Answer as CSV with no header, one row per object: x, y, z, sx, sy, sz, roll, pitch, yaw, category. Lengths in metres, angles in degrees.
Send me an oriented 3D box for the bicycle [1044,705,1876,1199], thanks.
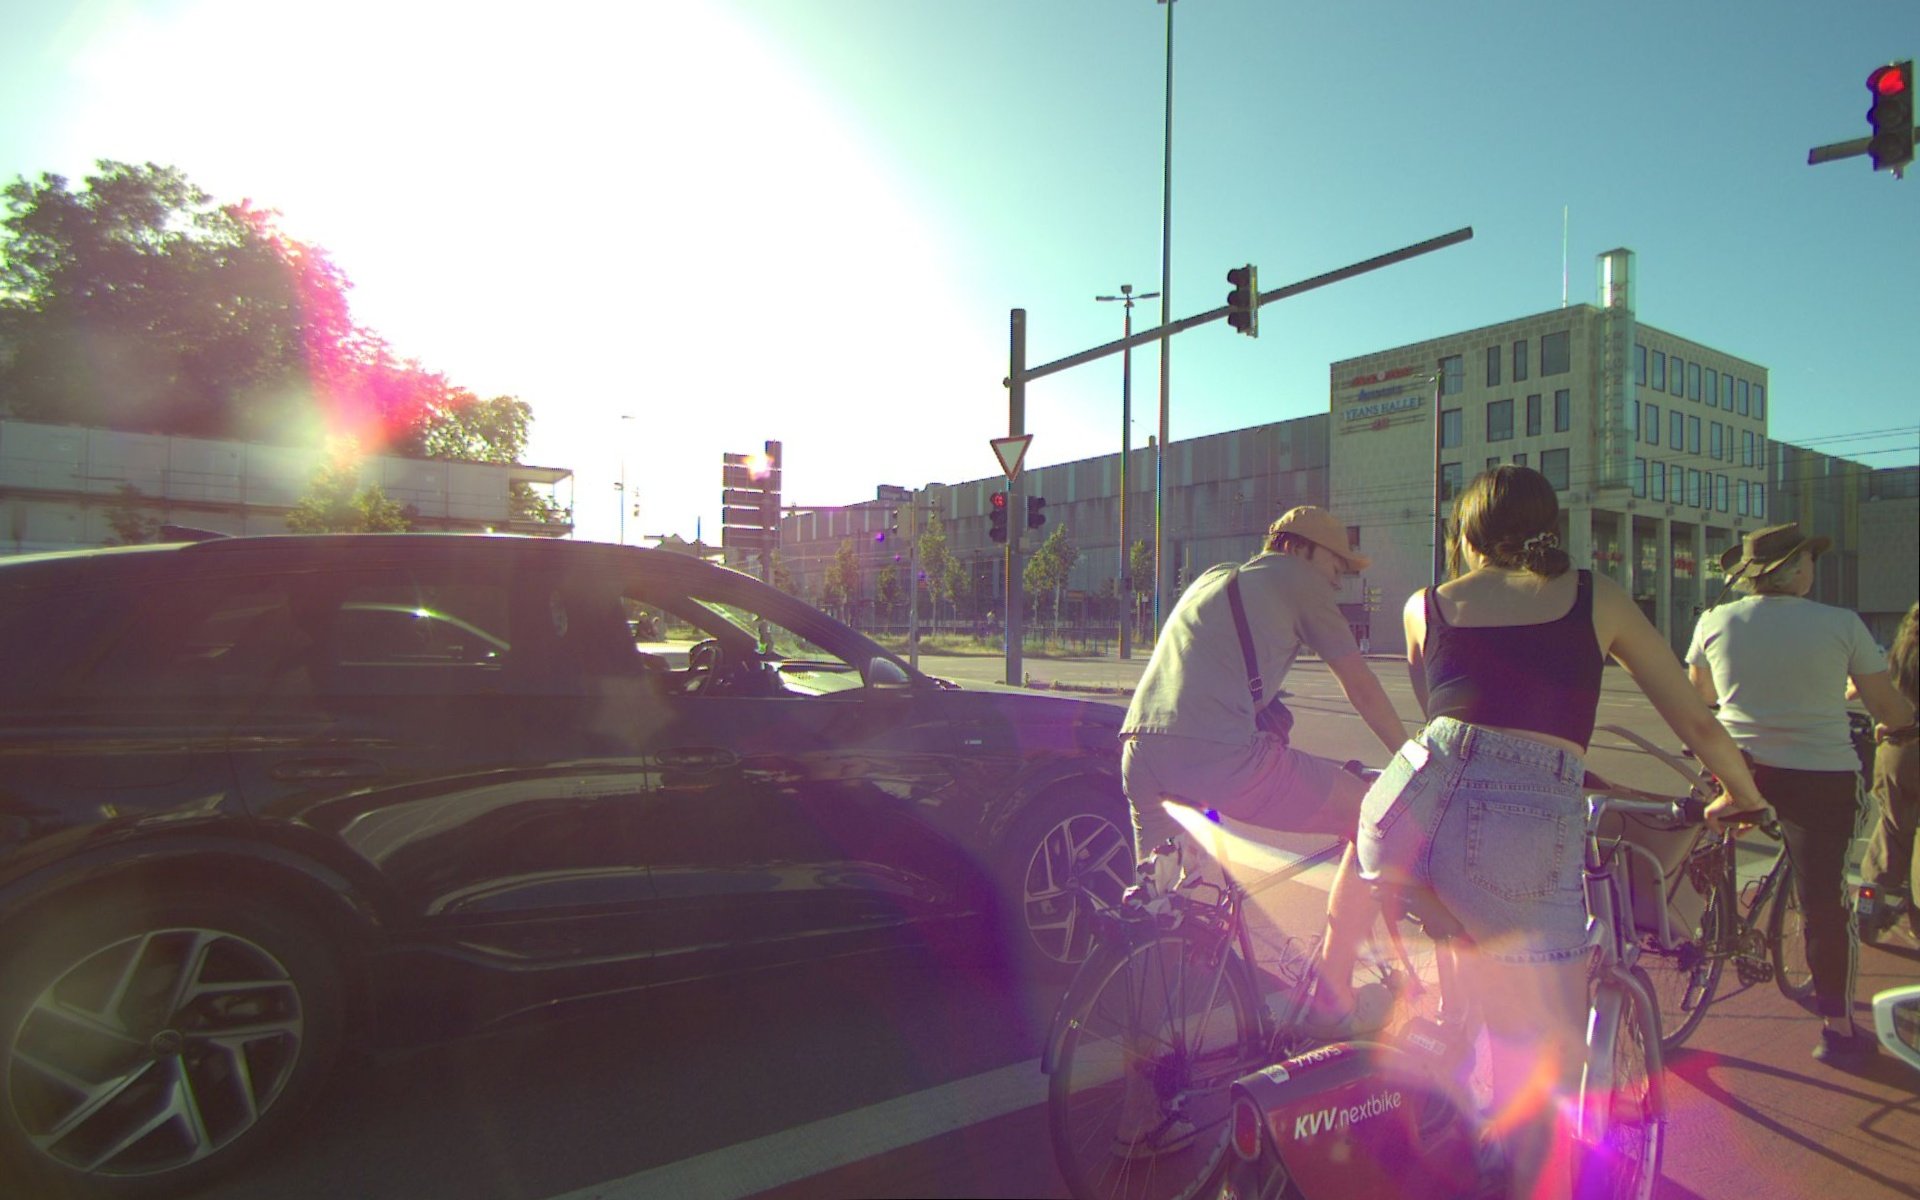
1.069,0.890,1.968,1.811,1.234,0.612,1,0,-33,bicycle

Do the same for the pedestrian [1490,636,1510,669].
32.163,3.132,59.868,0.710,1.910,0.779,2,0,-36,pedestrian

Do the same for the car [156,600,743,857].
-3.584,0.787,7.496,3.562,1.505,1.485,1,0,-30,car

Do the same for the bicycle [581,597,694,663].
-9.465,0.852,29.543,3.047,1.835,0.835,0,1,-32,bicycle

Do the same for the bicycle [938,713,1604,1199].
0.942,0.950,2.771,1.949,1.124,0.643,1,0,-33,bicycle

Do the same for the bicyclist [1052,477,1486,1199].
0.805,0.556,2.674,0.833,1.627,0.712,1,0,-32,bicyclist

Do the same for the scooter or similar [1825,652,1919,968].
4.494,0.923,4.714,1.186,1.311,0.541,2,0,-45,scooter or similar

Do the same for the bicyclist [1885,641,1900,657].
67.980,3.555,73.243,0.612,1.099,0.512,1,0,16,bicyclist

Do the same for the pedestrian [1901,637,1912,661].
71.098,3.675,75.456,0.579,1.702,0.516,1,1,-43,pedestrian

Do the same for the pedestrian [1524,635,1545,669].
33.398,3.010,58.377,0.710,1.910,0.779,2,0,-36,pedestrian

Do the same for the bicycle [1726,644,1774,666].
48.698,3.391,61.960,0.605,1.238,2.295,1,-1,-31,bicycle

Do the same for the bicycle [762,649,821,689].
-6.803,2.761,40.472,0.962,1.388,2.930,2,0,-40,bicycle

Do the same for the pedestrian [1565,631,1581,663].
35.631,2.733,58.425,0.784,1.868,0.862,0,-1,32,pedestrian

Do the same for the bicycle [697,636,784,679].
-7.897,2.044,36.142,2.905,1.388,0.970,2,0,16,bicycle

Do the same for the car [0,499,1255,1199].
-1.152,0.629,3.871,4.630,1.656,1.760,1,0,-32,car

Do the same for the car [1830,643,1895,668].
49.784,3.066,55.410,3.956,1.359,1.621,2,-4,-32,car

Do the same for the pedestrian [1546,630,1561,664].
34.258,2.698,57.972,0.705,1.910,0.785,2,0,33,pedestrian

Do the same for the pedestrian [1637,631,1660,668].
38.427,2.763,56.072,0.767,2.040,0.876,2,0,-41,pedestrian

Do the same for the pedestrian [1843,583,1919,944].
4.635,0.759,4.807,0.568,1.654,0.543,2,0,-45,pedestrian

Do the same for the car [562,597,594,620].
-32.936,0.729,86.512,1.785,1.908,3.964,2,0,-33,car

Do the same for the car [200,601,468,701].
-11.006,0.886,17.908,3.855,1.606,1.645,2,-2,-32,car

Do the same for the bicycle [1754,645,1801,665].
52.902,3.534,65.019,0.605,1.238,2.295,1,-1,-31,bicycle

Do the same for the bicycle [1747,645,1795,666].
51.278,3.478,63.551,0.605,1.238,2.295,1,-1,-31,bicycle

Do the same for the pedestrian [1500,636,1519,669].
33.225,3.169,60.690,0.780,1.910,0.709,2,0,-37,pedestrian

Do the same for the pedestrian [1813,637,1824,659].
67.501,3.744,78.987,0.610,1.702,0.565,1,0,-39,pedestrian

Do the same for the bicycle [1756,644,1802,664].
54.282,3.584,66.567,0.605,1.238,2.295,1,-1,-31,bicycle

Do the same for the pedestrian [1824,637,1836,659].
68.030,3.755,78.537,0.602,1.702,0.549,1,0,-40,pedestrian

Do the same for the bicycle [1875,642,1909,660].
67.937,3.740,73.223,1.774,1.223,0.512,1,0,18,bicycle

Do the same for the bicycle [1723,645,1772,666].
48.048,3.368,61.339,0.605,1.238,2.295,1,-1,-31,bicycle

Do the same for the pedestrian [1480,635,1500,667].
32.426,3.115,61.450,0.710,1.910,0.779,2,0,-36,pedestrian

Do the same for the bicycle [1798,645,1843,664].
59.824,3.770,69.853,0.605,1.238,2.295,1,-1,-31,bicycle

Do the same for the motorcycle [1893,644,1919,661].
70.740,3.912,74.856,0.508,1.223,1.786,1,0,-44,motorcycle

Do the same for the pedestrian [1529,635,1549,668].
34.408,3.047,59.689,0.710,1.910,0.779,2,0,-36,pedestrian

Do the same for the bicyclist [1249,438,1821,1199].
1.132,0.564,2.001,0.866,1.600,0.638,1,0,-33,bicyclist

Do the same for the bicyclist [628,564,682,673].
-9.049,0.554,29.834,1.292,3.144,0.835,2,0,-32,bicyclist

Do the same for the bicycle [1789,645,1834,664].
58.853,3.738,69.429,0.605,1.238,2.295,1,-1,-31,bicycle

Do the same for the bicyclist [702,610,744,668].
-8.566,1.389,36.339,1.078,2.040,0.961,2,0,16,bicyclist

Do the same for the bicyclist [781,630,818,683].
-6.397,2.243,40.035,0.985,2.040,1.088,2,0,-40,bicyclist

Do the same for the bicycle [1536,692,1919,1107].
2.881,0.959,3.680,1.810,1.171,0.482,2,0,-31,bicycle

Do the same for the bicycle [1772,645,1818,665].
55.520,3.623,66.830,0.605,1.238,2.295,1,-1,-31,bicycle

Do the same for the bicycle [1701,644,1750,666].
45.763,3.292,60.084,0.605,1.238,2.295,1,-1,-31,bicycle

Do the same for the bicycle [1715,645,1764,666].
46.965,3.331,60.528,0.605,1.238,2.295,1,-1,-31,bicycle

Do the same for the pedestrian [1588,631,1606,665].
35.874,2.697,56.584,0.784,1.868,0.863,0,-1,28,pedestrian

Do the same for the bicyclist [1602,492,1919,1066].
2.871,0.554,3.553,0.856,1.743,0.657,2,0,-30,bicyclist
